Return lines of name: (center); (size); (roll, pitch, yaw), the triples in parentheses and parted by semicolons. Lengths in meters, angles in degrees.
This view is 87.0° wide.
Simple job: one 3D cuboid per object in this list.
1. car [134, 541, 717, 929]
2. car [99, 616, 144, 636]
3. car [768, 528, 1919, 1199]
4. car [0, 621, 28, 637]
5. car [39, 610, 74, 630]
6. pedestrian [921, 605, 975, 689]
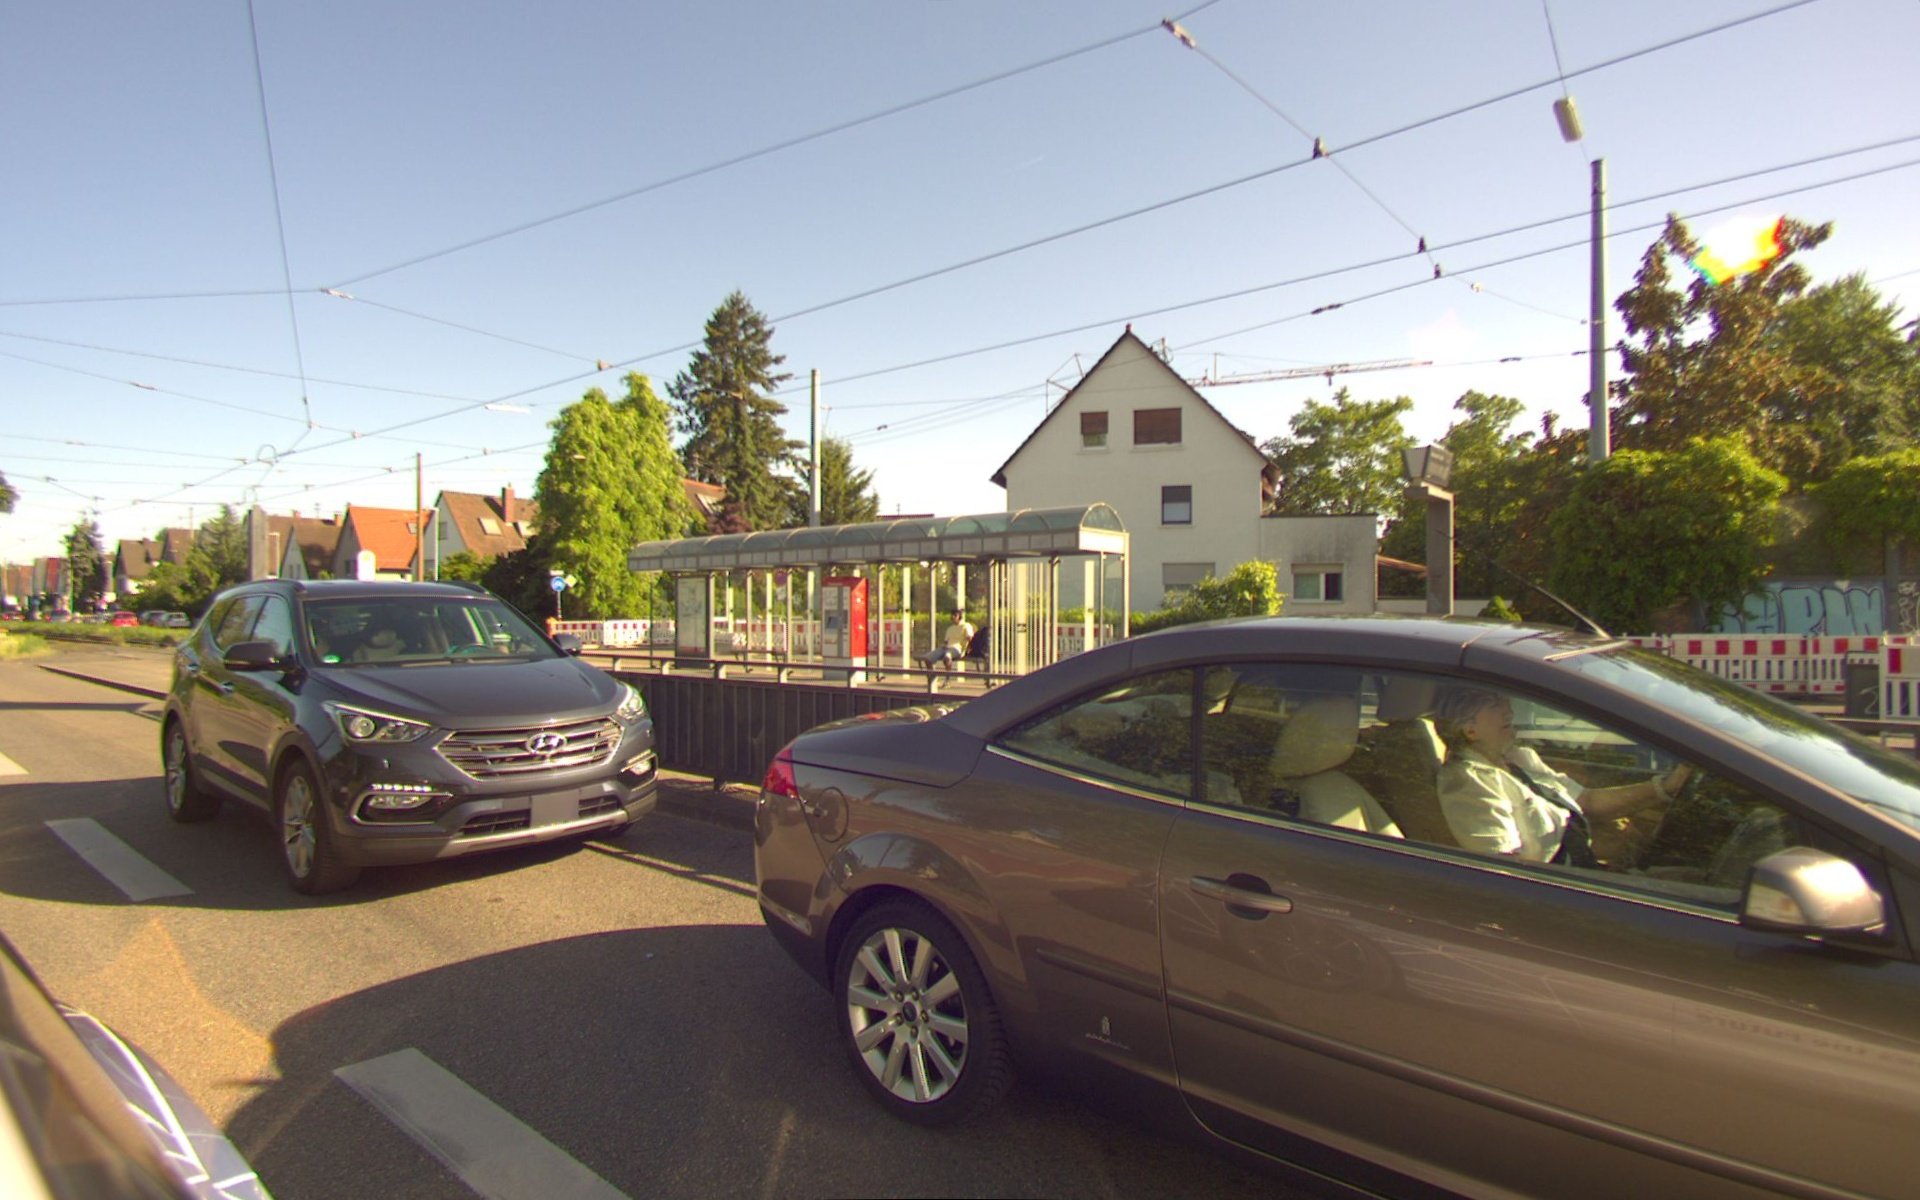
car: (-3.655, 0.639, 6.574); (4.296, 1.709, 1.862); (-1, -2, 40)
car: (-62.260, 1.924, 75.120); (3.999, 1.475, 1.972); (-1, -2, 42)
car: (1.598, 0.686, 2.407); (4.189, 1.546, 1.733); (-1, -2, 38)
car: (-104.366, 3.175, 111.581); (3.998, 1.674, 1.973); (-1, -2, 41)
car: (-84.798, 1.887, 94.987); (3.999, 1.785, 1.972); (-1, -2, 42)
pedestrian: (-0.204, 0.824, 17.771); (0.710, 1.425, 0.615); (-1, -3, 39)
